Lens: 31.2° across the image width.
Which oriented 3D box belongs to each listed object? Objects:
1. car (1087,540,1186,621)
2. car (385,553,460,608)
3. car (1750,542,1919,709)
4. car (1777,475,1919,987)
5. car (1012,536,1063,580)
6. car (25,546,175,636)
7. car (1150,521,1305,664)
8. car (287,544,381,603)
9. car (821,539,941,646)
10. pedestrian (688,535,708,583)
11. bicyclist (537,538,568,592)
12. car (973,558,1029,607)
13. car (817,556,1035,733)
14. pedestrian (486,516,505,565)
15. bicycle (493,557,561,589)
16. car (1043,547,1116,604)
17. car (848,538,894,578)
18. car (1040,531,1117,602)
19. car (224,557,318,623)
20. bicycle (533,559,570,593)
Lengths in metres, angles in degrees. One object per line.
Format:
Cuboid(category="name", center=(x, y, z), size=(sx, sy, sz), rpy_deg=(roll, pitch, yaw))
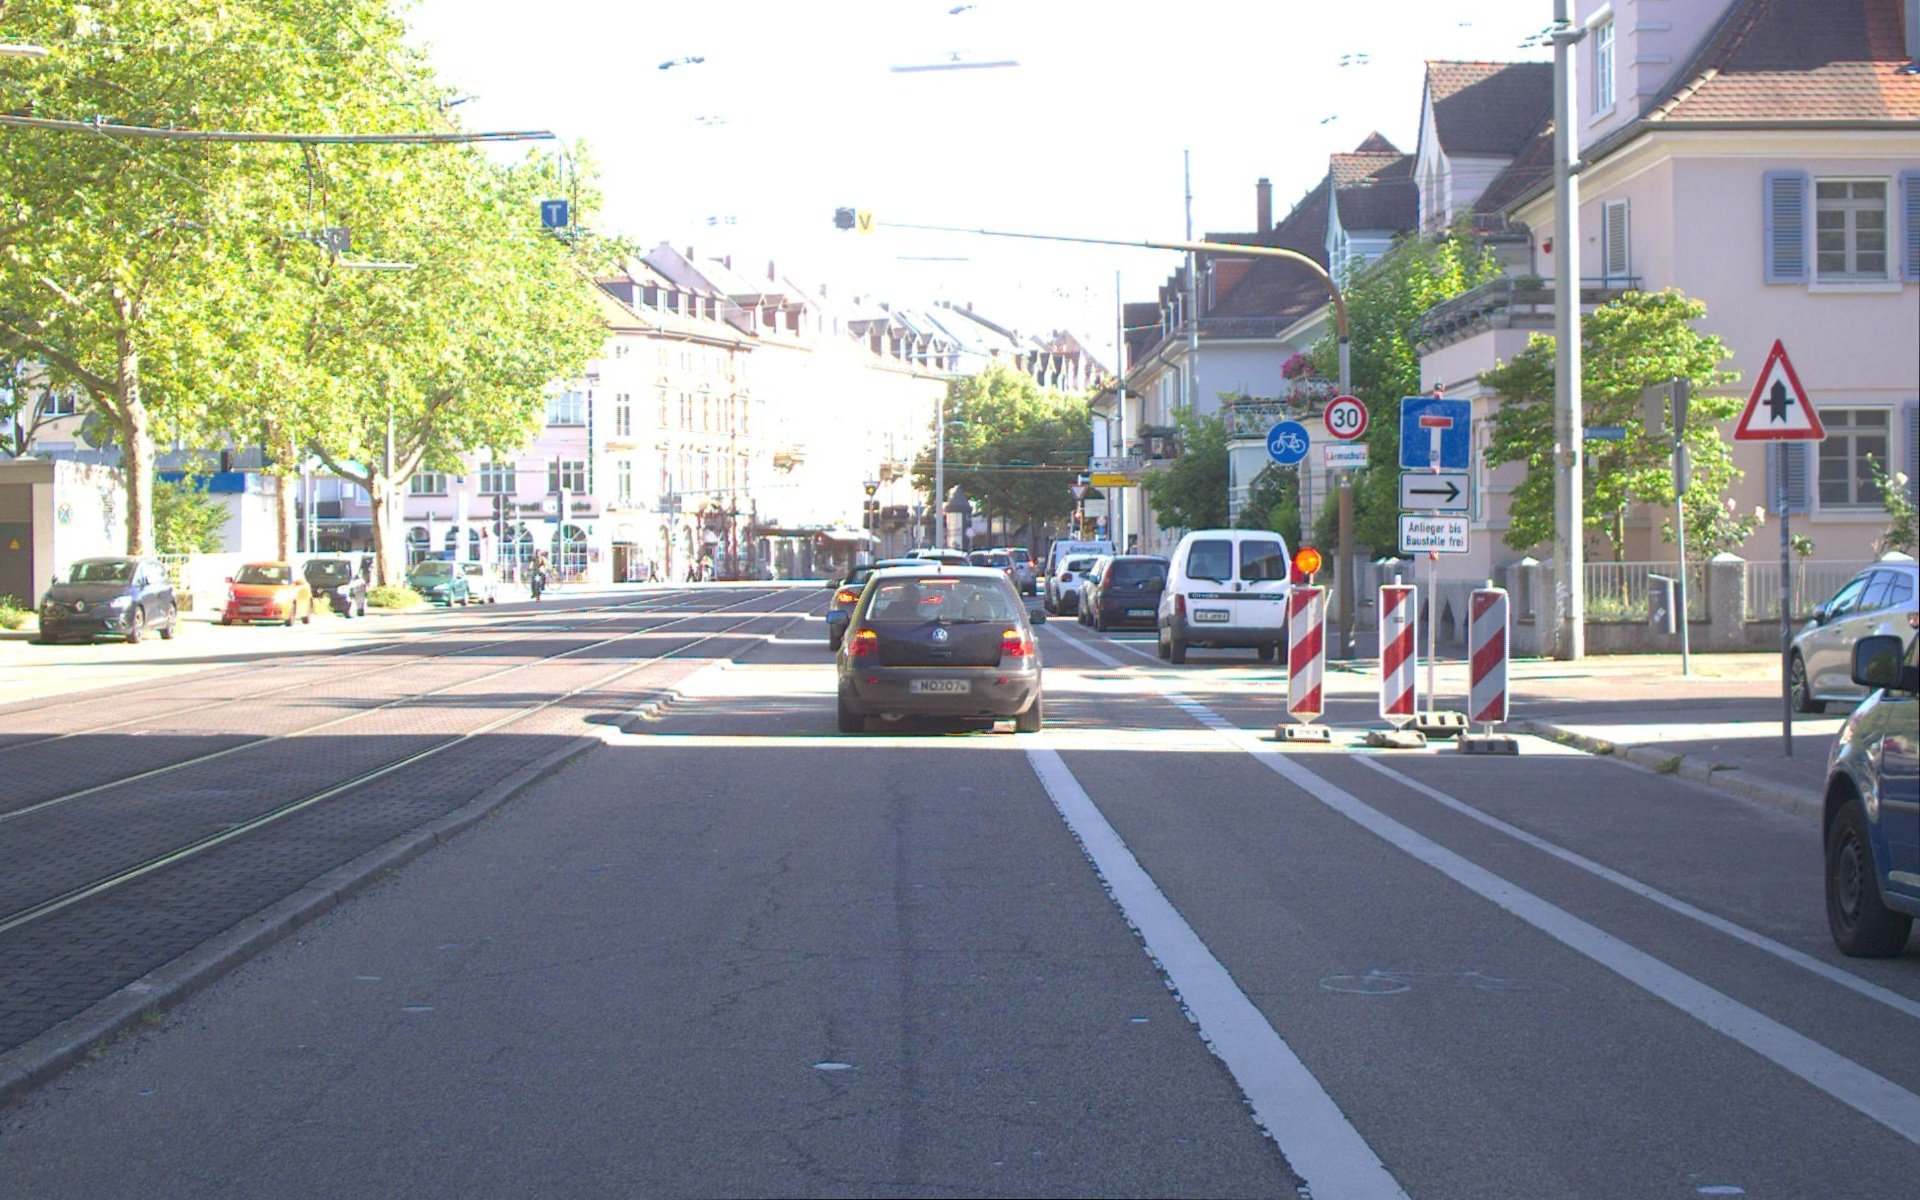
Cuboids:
Cuboid(category="car", center=(3.397, -0.403, 66.749), size=(1.661, 1.520, 4.036), rpy_deg=(0, 1, -1))
Cuboid(category="car", center=(-17.287, -0.647, 110.675), size=(1.883, 1.663, 3.805), rpy_deg=(1, 1, -2))
Cuboid(category="car", center=(8.540, 0.256, 30.766), size=(1.702, 1.384, 4.516), rpy_deg=(-1, -1, -2))
Cuboid(category="car", center=(4.261, 0.487, 11.783), size=(1.702, 1.804, 4.272), rpy_deg=(1, 1, -2))
Cuboid(category="car", center=(2.689, -1.468, 119.318), size=(1.636, 1.467, 3.729), rpy_deg=(0, 1, -1))
Cuboid(category="car", center=(-16.335, -0.196, 65.487), size=(1.887, 1.660, 4.000), rpy_deg=(0, 1, -1))
Cuboid(category="car", center=(3.621, -0.137, 47.026), size=(1.759, 1.831, 3.548), rpy_deg=(1, 1, -1))
Cuboid(category="car", center=(-16.597, -0.715, 91.311), size=(1.792, 1.460, 3.836), rpy_deg=(2, 1, -1))
Cuboid(category="car", center=(-1.176, -0.147, 52.564), size=(1.748, 1.532, 3.892), rpy_deg=(0, 1, 0))
Cuboid(category="pedestrian", center=(-14.505, -2.264, 190.333), size=(0.956, 2.650, 1.099), rpy_deg=(1, 1, -2))
Cuboid(category="bicyclist", center=(-13.971, -1.213, 117.789), size=(0.914, 1.827, 0.960), rpy_deg=(1, 1, -1))
Cuboid(category="car", center=(1.267, -0.570, 107.322), size=(1.636, 1.467, 3.729), rpy_deg=(0, 1, -1))
Cuboid(category="car", center=(-0.343, 0.334, 29.749), size=(1.748, 1.370, 4.001), rpy_deg=(-1, 1, -2))
Cuboid(category="pedestrian", center=(-25.268, -3.228, 186.996), size=(0.956, 2.650, 1.099), rpy_deg=(1, 1, -10))
Cuboid(category="bicycle", center=(-18.105, -1.118, 143.787), size=(2.742, 1.258, 0.706), rpy_deg=(1, 1, -1))
Cuboid(category="car", center=(2.918, -0.623, 84.550), size=(1.580, 1.370, 4.000), rpy_deg=(0, 1, -1))
Cuboid(category="car", center=(-3.330, -1.596, 129.146), size=(1.636, 1.467, 3.729), rpy_deg=(-1, 1, -1))
Cuboid(category="car", center=(3.065, -0.880, 89.397), size=(1.817, 1.793, 4.000), rpy_deg=(0, 1, -1))
Cuboid(category="car", center=(-16.413, -0.234, 82.013), size=(1.570, 1.528, 3.572), rpy_deg=(0, 0, -1))
Cuboid(category="bicycle", center=(-13.984, -0.833, 117.730), size=(0.914, 1.079, 3.203), rpy_deg=(1, 1, -1))
